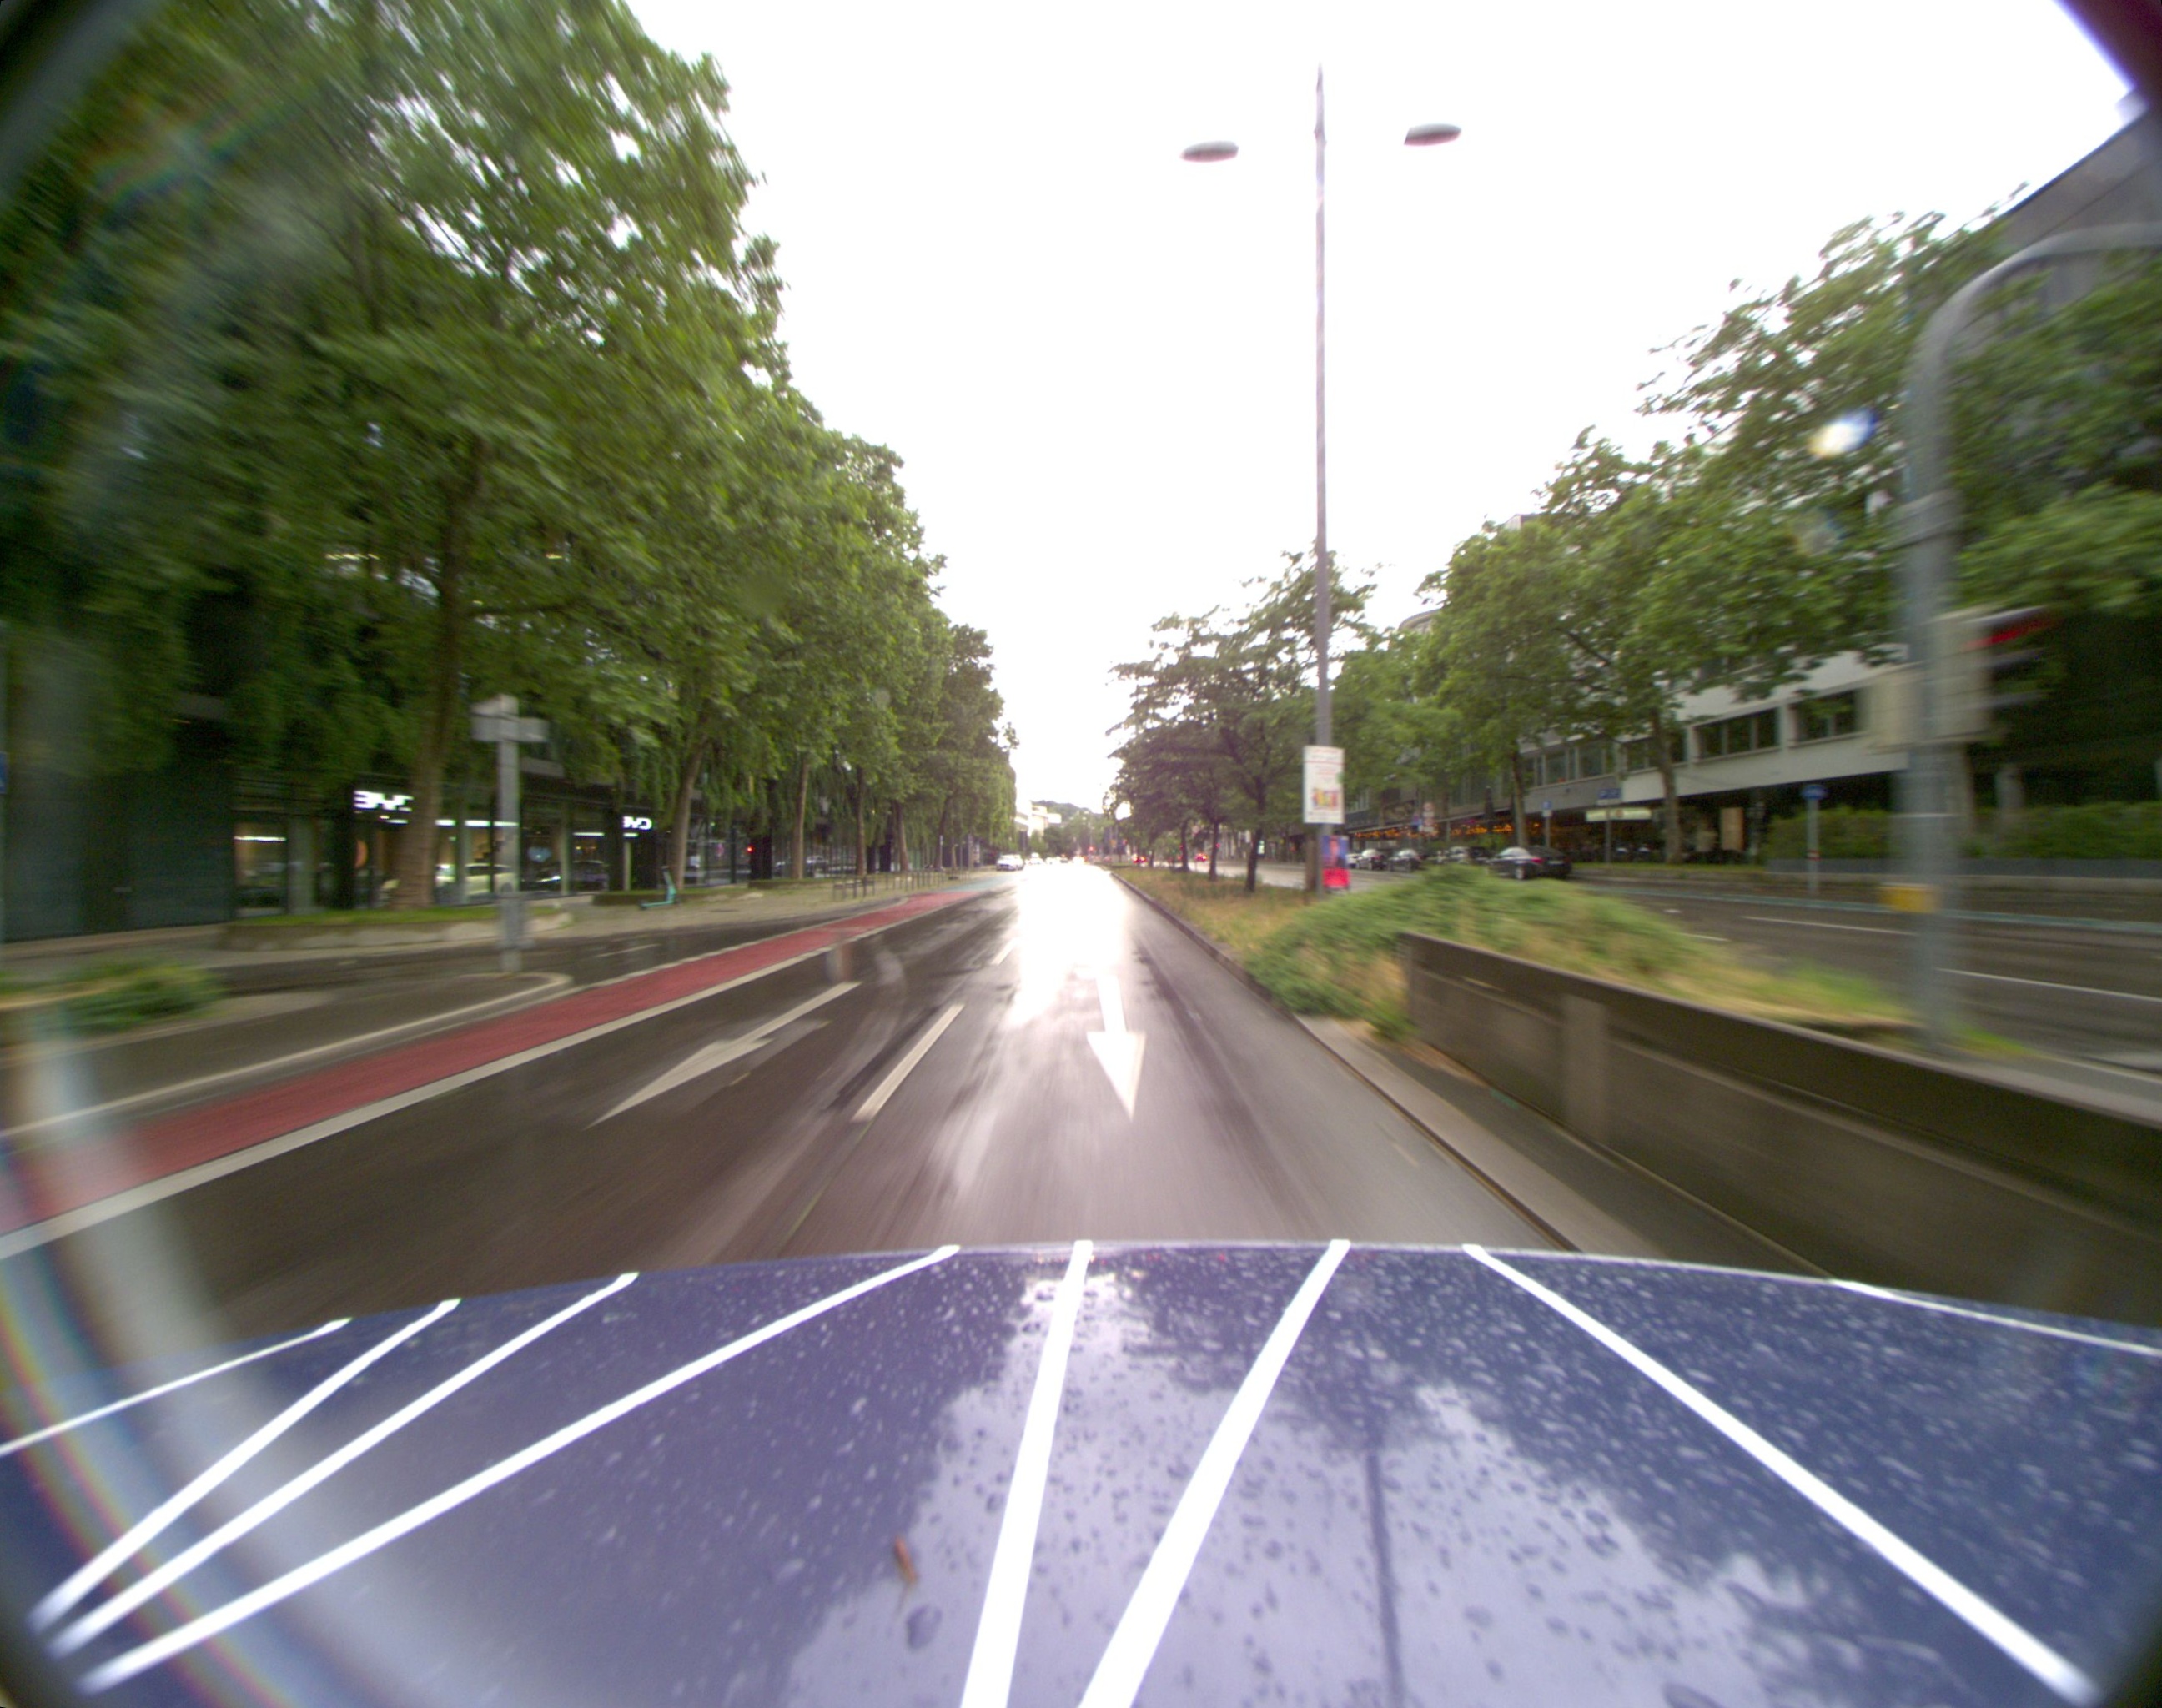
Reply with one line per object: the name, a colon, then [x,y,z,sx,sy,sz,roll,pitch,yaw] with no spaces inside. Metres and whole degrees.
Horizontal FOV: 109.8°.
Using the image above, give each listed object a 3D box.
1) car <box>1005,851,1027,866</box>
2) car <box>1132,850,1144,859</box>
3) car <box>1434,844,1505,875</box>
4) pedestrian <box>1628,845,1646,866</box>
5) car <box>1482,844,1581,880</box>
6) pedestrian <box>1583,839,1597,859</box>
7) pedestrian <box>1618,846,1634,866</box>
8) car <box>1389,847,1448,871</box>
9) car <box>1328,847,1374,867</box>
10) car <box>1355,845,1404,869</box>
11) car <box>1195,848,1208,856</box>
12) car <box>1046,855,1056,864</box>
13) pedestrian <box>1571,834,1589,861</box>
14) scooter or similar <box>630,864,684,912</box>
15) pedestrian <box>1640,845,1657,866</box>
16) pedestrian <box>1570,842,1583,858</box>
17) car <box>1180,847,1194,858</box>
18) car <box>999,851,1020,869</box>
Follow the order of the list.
car: [-7.572,0.557,89.302,2.036,1.553,4.584,-2,1,1]
car: [9.848,0.074,131.608,1.678,1.381,3.527,-3,1,-3]
car: [19.799,0.267,38.901,1.875,1.414,3.400,-2,1,1]
pedestrian: [27.399,0.062,37.447,0.486,0.995,0.490,-3,2,-16]
car: [19.687,0.307,33.467,1.875,1.377,4.537,-2,1,3]
pedestrian: [27.400,-0.266,40.880,0.464,1.010,0.424,-3,2,-2]
pedestrian: [27.320,0.083,38.094,0.459,0.987,0.463,-3,2,-15]
car: [19.797,0.264,44.733,1.647,1.232,4.318,-2,1,2]
car: [20.055,0.187,56.547,1.881,1.318,4.391,-2,1,1]
car: [19.939,0.152,50.910,1.750,1.445,3.788,-2,1,1]
car: [20.784,-0.362,131.231,1.765,1.318,3.737,-2,1,1]
car: [-5.521,0.947,139.026,1.557,1.534,3.662,-2,1,0]
pedestrian: [30.502,-0.413,46.434,0.606,1.638,0.623,-3,2,-4]
scooter or similar: [-12.039,0.941,21.575,1.187,1.275,0.535,-3,2,-40]
pedestrian: [27.590,0.073,36.926,0.458,0.958,0.453,-3,2,-16]
pedestrian: [27.558,-0.225,42.249,0.440,0.845,0.433,-3,2,-2]
car: [17.675,-0.248,126.760,1.781,1.565,3.728,-2,1,-1]
car: [-7.791,0.613,83.222,1.932,1.726,4.597,-2,1,-1]
